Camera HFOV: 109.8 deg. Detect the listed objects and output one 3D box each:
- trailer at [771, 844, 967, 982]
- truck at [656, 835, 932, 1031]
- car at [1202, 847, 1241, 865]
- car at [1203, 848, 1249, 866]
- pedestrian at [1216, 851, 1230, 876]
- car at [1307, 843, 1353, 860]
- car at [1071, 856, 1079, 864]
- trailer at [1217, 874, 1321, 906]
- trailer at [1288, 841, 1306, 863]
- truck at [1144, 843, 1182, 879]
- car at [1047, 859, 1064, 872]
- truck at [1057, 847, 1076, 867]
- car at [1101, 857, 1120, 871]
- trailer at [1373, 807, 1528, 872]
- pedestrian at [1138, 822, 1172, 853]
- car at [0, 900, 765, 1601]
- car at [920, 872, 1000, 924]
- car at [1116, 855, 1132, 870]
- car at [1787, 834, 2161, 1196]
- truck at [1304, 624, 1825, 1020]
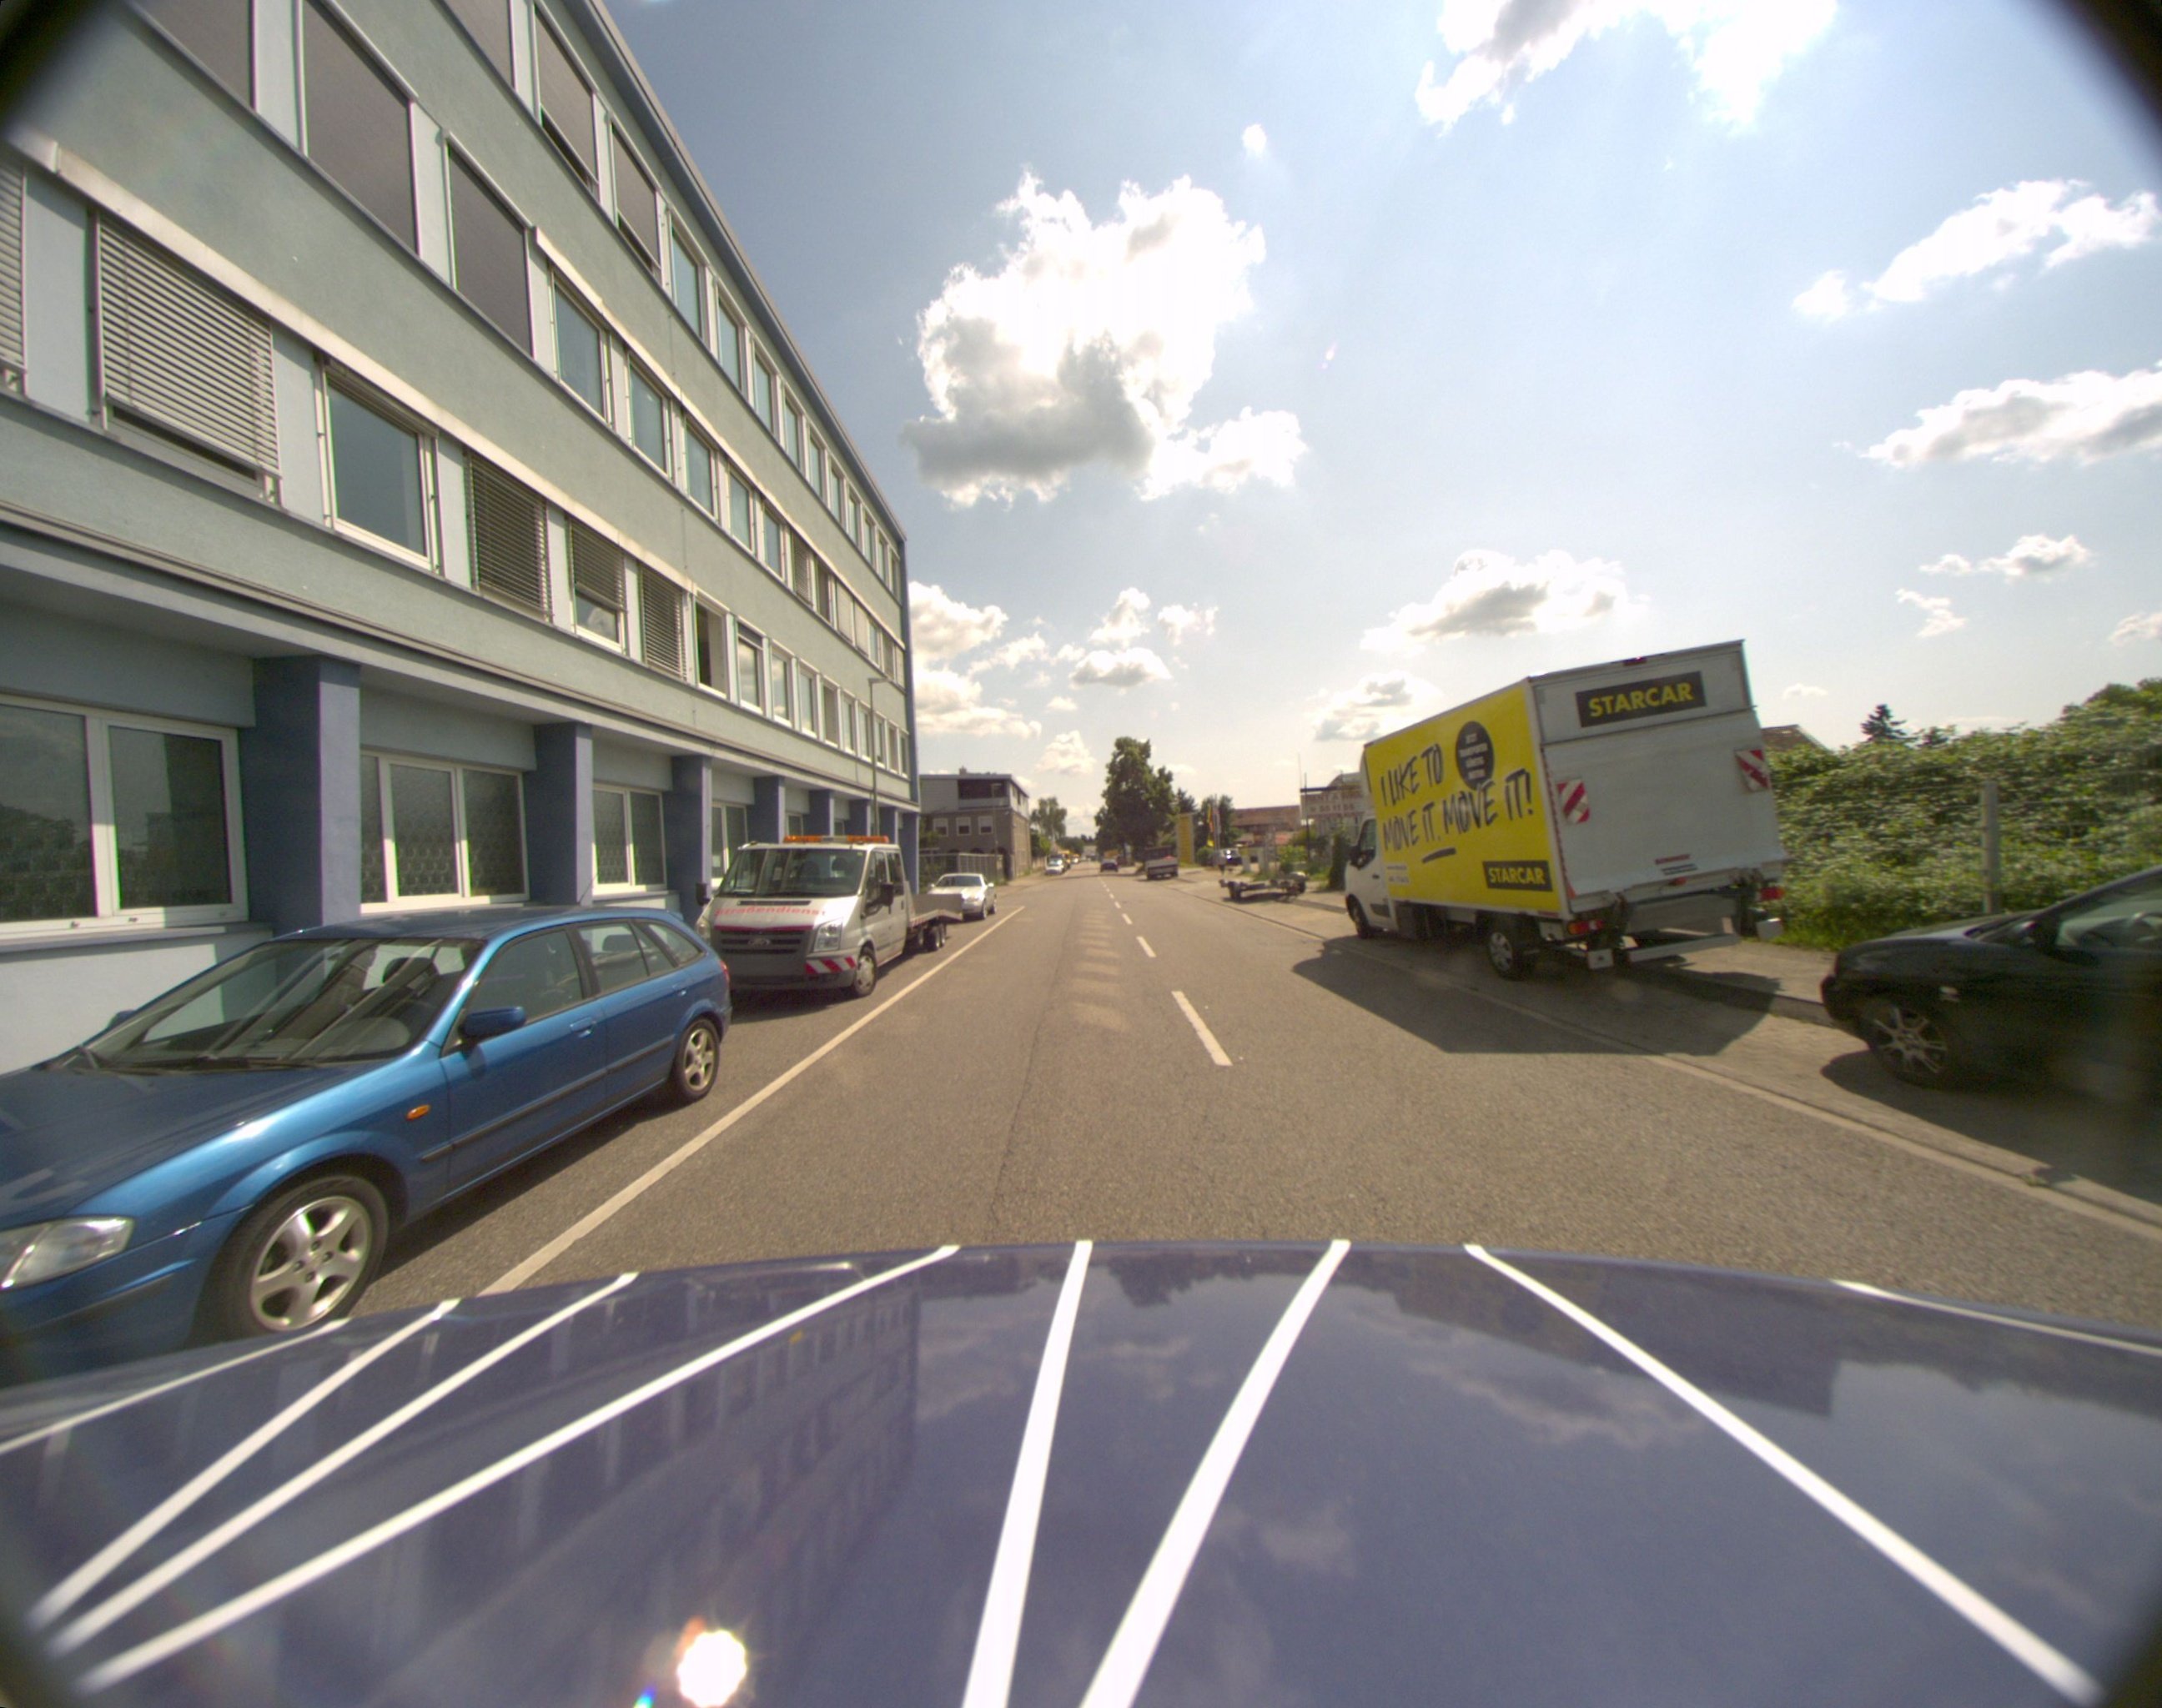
[{"bbox_3d":[-3.589,0.882,14.220,1.978,1.959,5.765,-3,0,0],"label":"trailer"},{"bbox_3d":[-3.572,0.858,10.614,1.969,2.023,4.734,-3,0,0],"label":"truck"},{"bbox_3d":[15.754,0.209,85.335,4.093,1.703,1.680,-3,0,9],"label":"car"},{"bbox_3d":[13.864,0.290,72.572,3.847,1.405,1.857,-5,1,-22],"label":"car"},{"bbox_3d":[9.085,0.600,48.766,0.661,1.536,0.918,-3,0,1],"label":"pedestrian"},{"bbox_3d":[25.156,-0.244,76.835,4.276,1.474,1.672,-3,1,14],"label":"car"},{"bbox_3d":[-1.557,1.706,205.109,1.998,2.002,4.000,-3,0,2],"label":"car"},{"bbox_3d":[6.086,1.143,25.243,2.241,0.549,4.444,-8,0,-1],"label":"trailer"},{"bbox_3d":[18.542,-0.164,65.165,1.268,1.682,2.972,-4,1,17],"label":"trailer"},{"bbox_3d":[5.888,0.472,55.125,2.133,2.225,7.350,-6,0,3],"label":"truck"},{"bbox_3d":[-2.696,1.205,81.350,1.657,1.324,4.000,-3,0,0],"label":"car"},{"bbox_3d":[-2.120,0.450,114.464,2.402,2.787,6.375,-3,0,2],"label":"truck"},{"bbox_3d":[3.175,1.054,82.088,1.789,1.430,4.309,0,0,-1],"label":"car"},{"bbox_3d":[18.819,-0.696,39.108,6.528,2.835,2.761,-3,0,11],"label":"trailer"},{"bbox_3d":[5.251,-1.136,54.403,1.998,2.002,4.000,-4,1,2],"label":"pedestrian"},{"bbox_3d":[-3.511,1.173,3.819,1.722,1.533,4.404,-4,-1,3],"label":"car"},{"bbox_3d":[-3.465,1.236,22.380,1.651,1.239,4.000,-3,0,0],"label":"car"},{"bbox_3d":[6.910,1.347,120.943,1.997,2.289,4.003,-3,0,10],"label":"car"},{"bbox_3d":[5.555,0.715,3.129,1.623,1.421,3.826,-9,0,1],"label":"car"},{"bbox_3d":[5.443,-0.266,10.393,2.256,3.342,6.906,-8,0,-1],"label":"truck"}]
